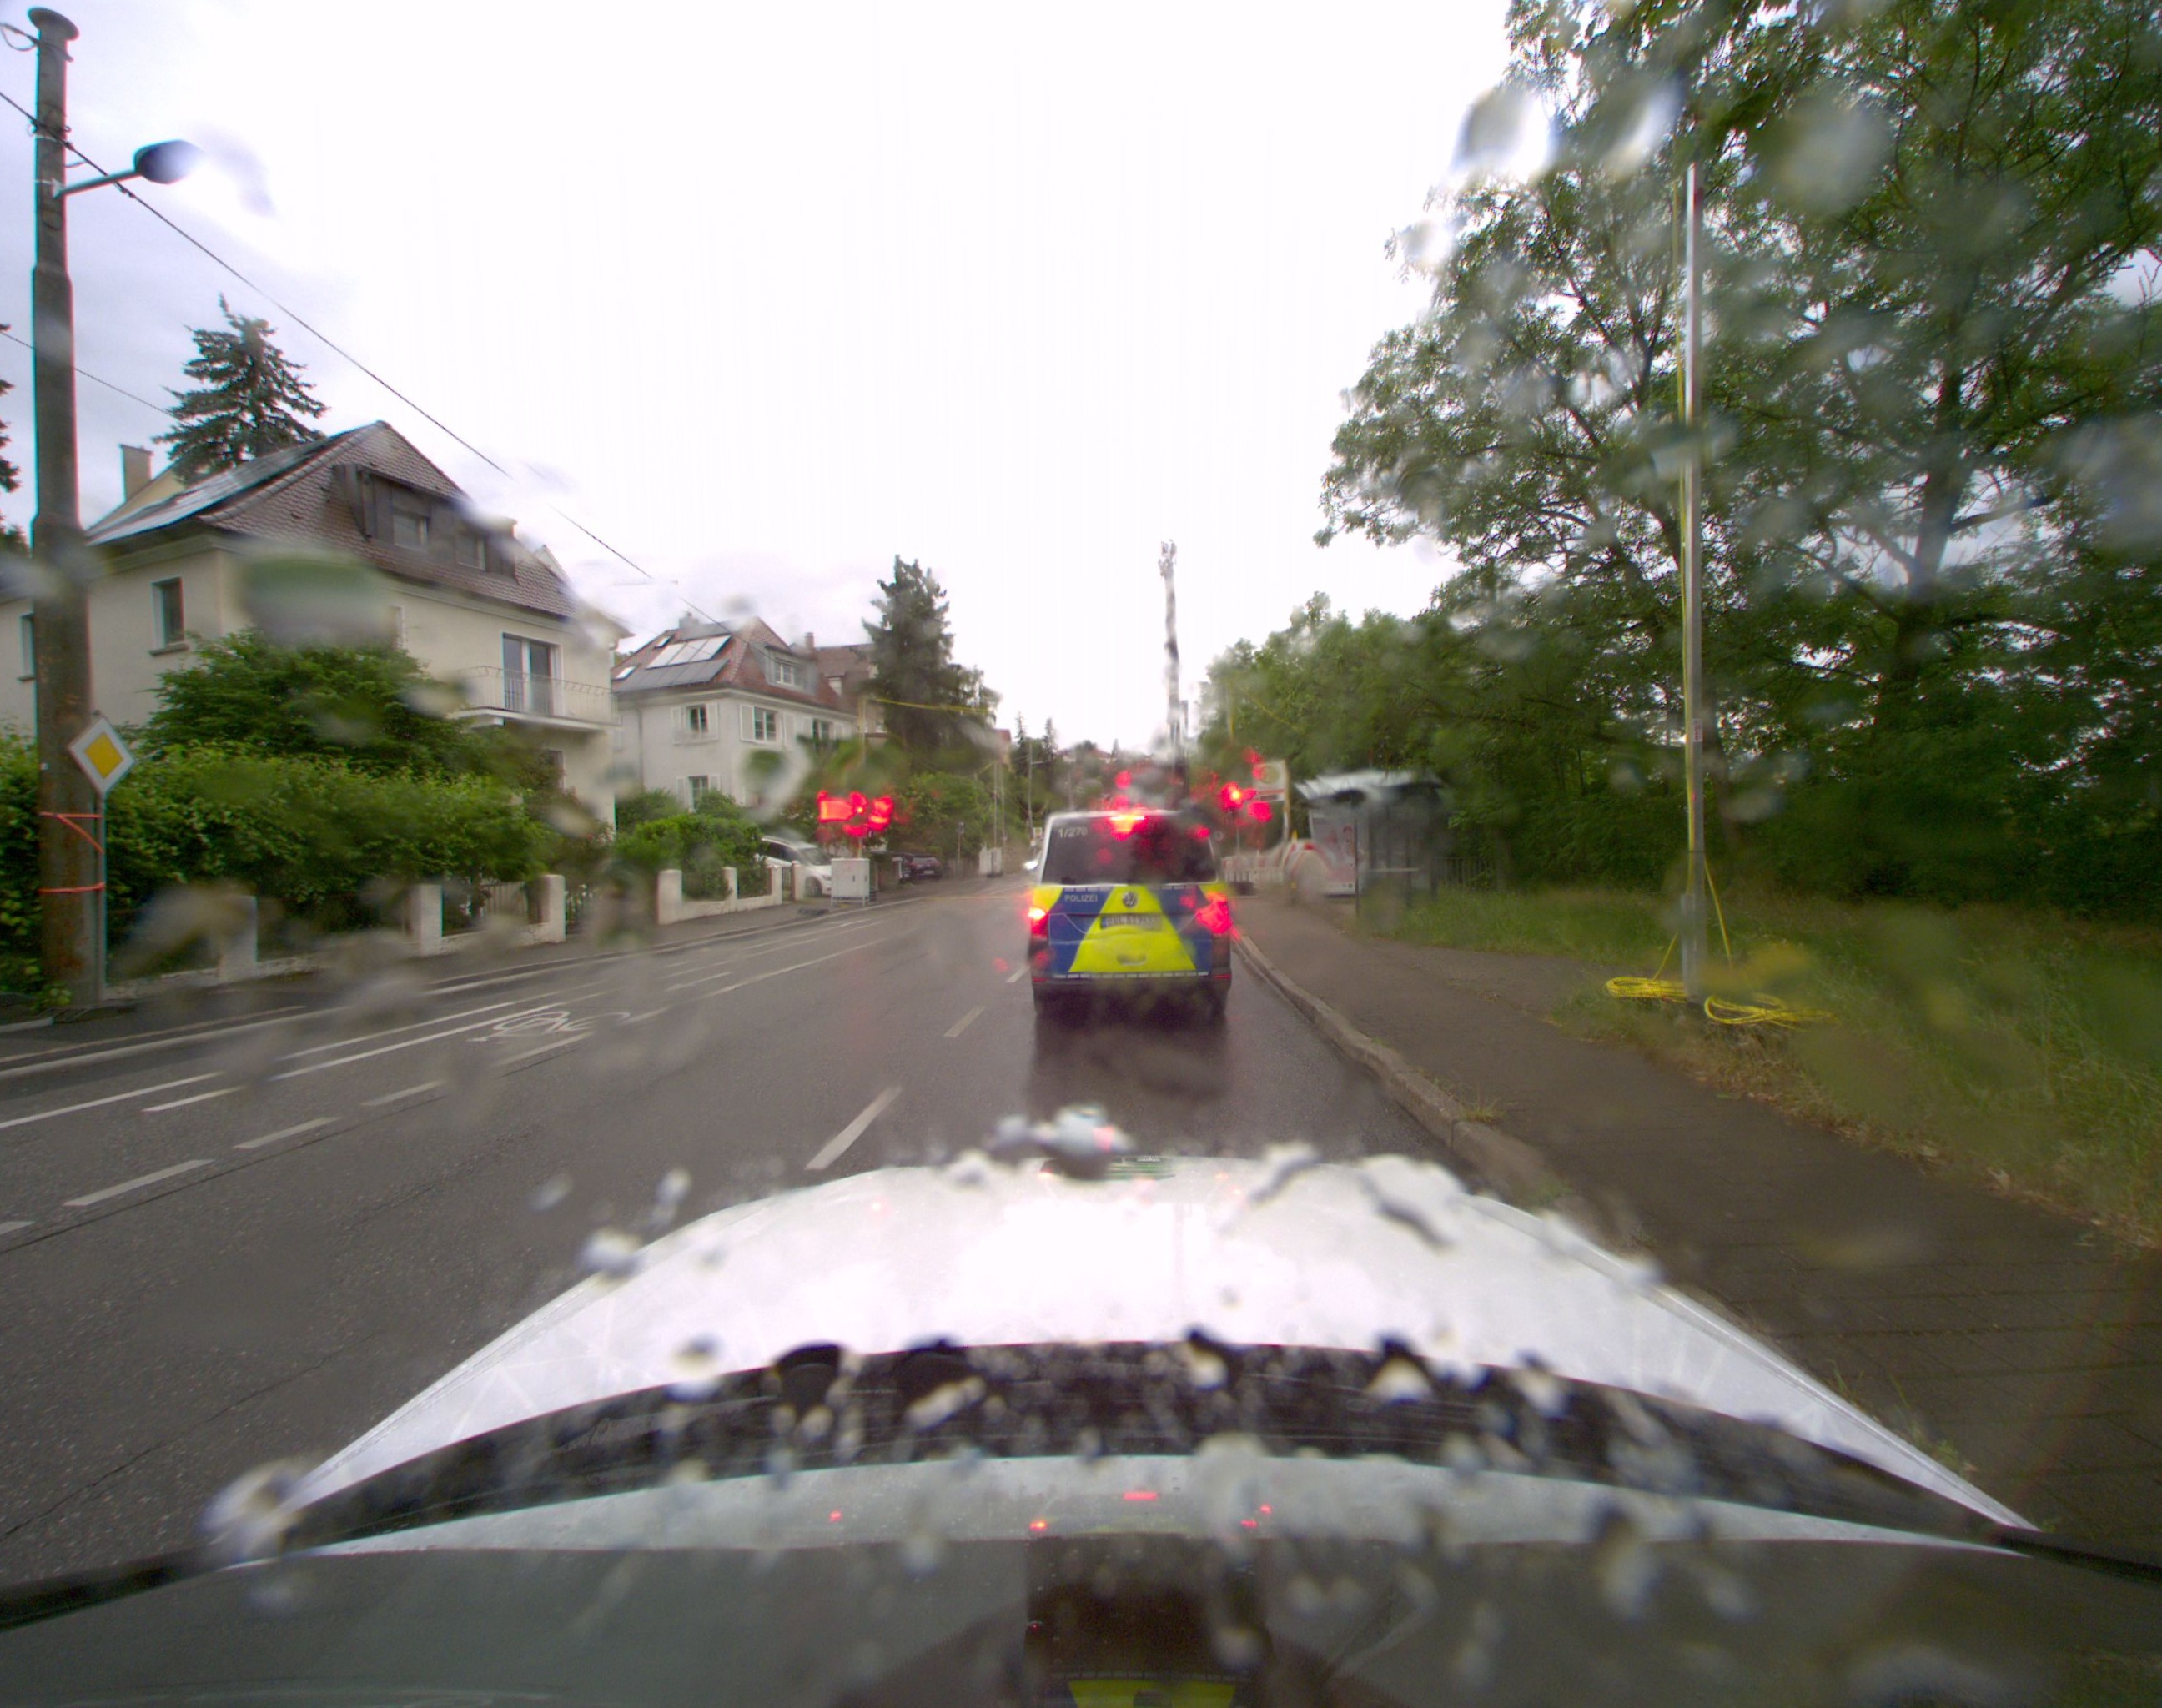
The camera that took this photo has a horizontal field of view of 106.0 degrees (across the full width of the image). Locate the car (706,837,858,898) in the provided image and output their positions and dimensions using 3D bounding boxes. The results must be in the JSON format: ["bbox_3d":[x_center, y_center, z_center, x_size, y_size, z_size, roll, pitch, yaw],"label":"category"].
[{"bbox_3d":[-10.276,0.454,28.064,4.599,2.007,1.907,0,0,13],"label":"car"}]

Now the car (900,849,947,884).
[{"bbox_3d":[-7.451,0.550,38.307,1.770,1.486,3.720,0,1,-17],"label":"car"}]

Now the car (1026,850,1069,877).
[{"bbox_3d":[-1.941,0.561,48.728,1.843,1.527,4.828,0,0,6],"label":"car"}]

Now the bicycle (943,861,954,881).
[{"bbox_3d":[-6.497,0.820,39.898,0.463,0.897,1.627,-1,0,-12],"label":"bicycle"}]

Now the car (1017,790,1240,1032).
[{"bbox_3d":[0.466,0.480,8.950,1.886,2.050,4.002,0,0,2],"label":"car"}]

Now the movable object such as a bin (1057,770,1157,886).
[{"bbox_3d":[1.110,-0.936,31.780,2.809,4.177,4.400,0,0,17],"label":"movable object such as a bin"}]
